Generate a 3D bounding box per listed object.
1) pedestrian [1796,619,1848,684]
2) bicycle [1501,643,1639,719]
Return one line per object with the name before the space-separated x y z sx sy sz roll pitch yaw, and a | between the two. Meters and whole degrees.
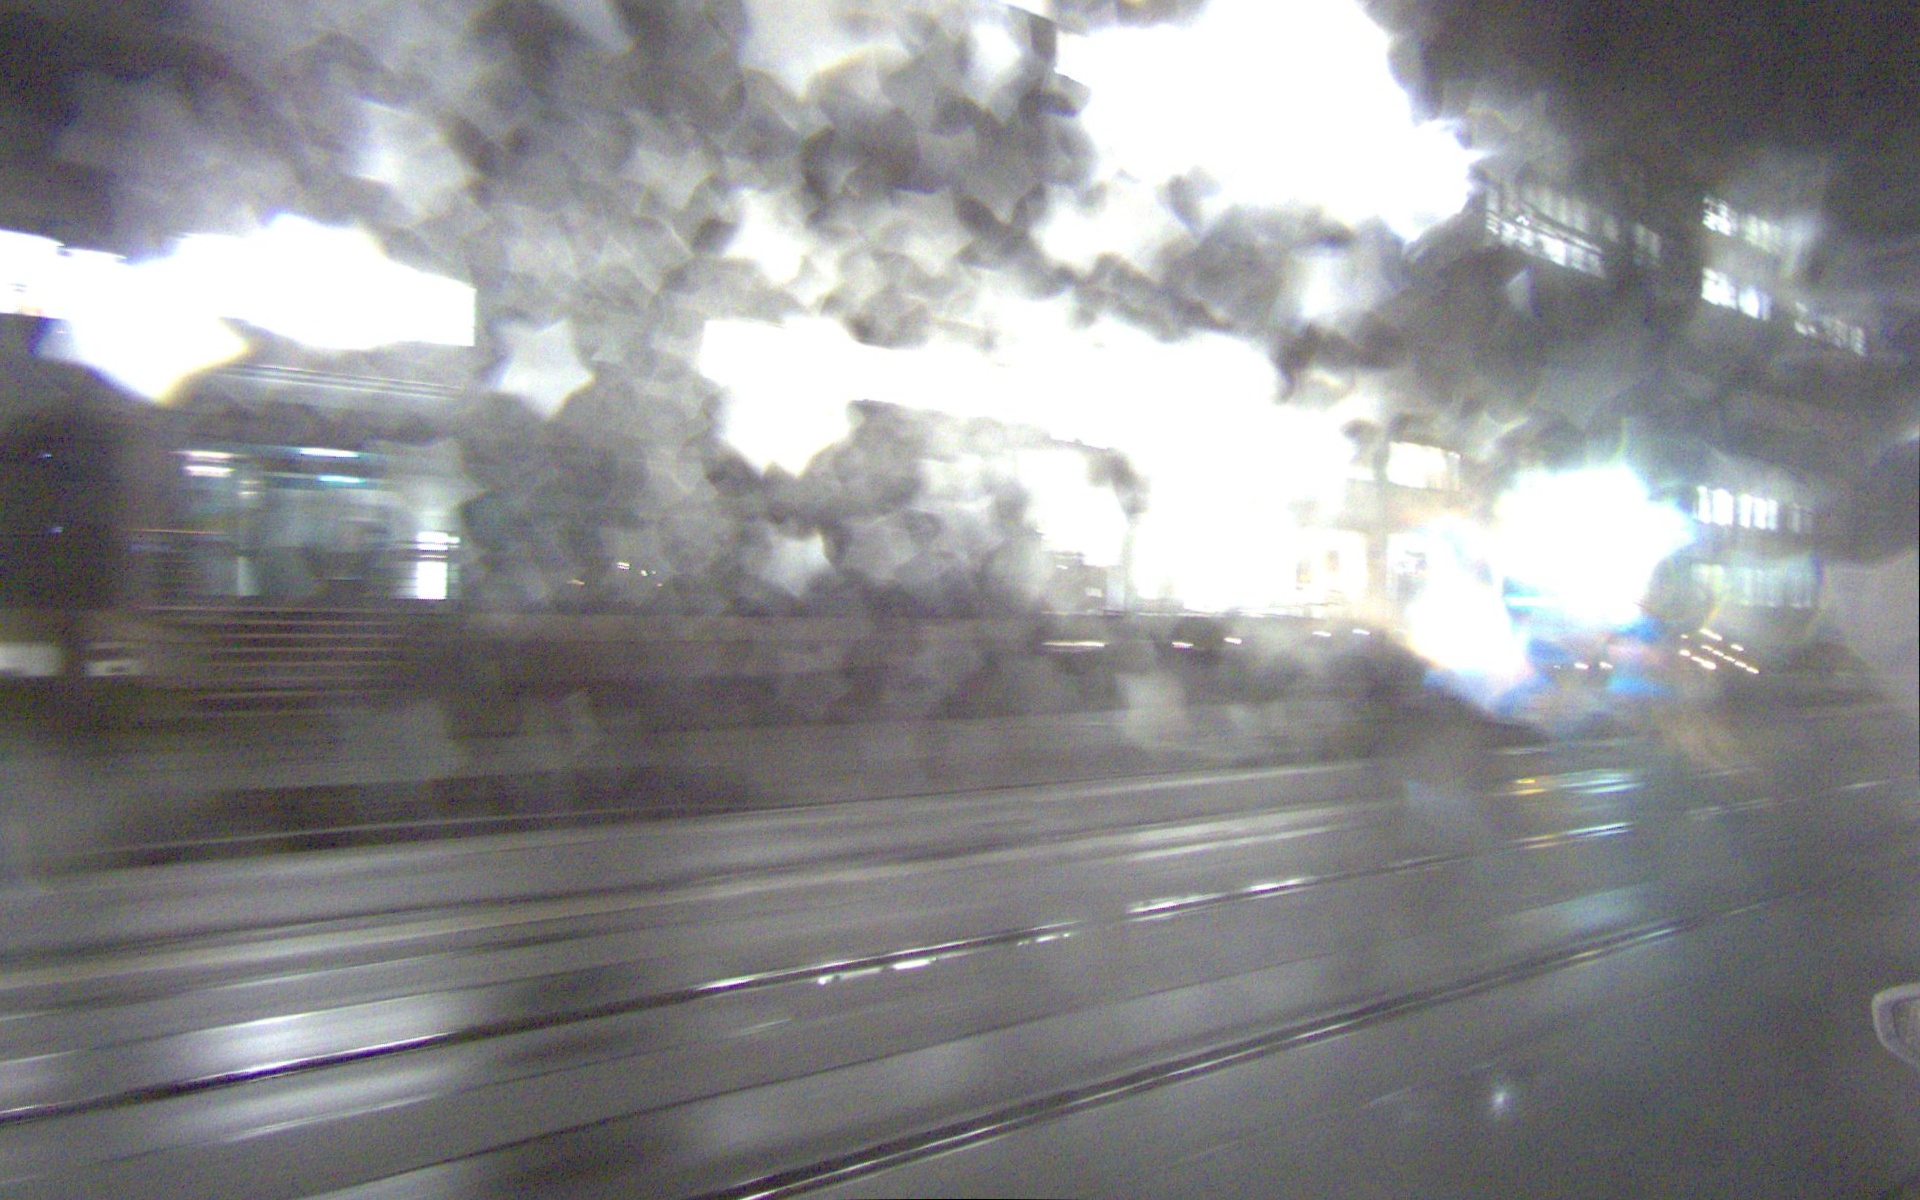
pedestrian | 23.306 1.381 27.159 0.872 1.709 0.782 2 0 -30
bicycle | 9.937 1.292 16.423 0.620 1.092 1.845 2 0 -29
